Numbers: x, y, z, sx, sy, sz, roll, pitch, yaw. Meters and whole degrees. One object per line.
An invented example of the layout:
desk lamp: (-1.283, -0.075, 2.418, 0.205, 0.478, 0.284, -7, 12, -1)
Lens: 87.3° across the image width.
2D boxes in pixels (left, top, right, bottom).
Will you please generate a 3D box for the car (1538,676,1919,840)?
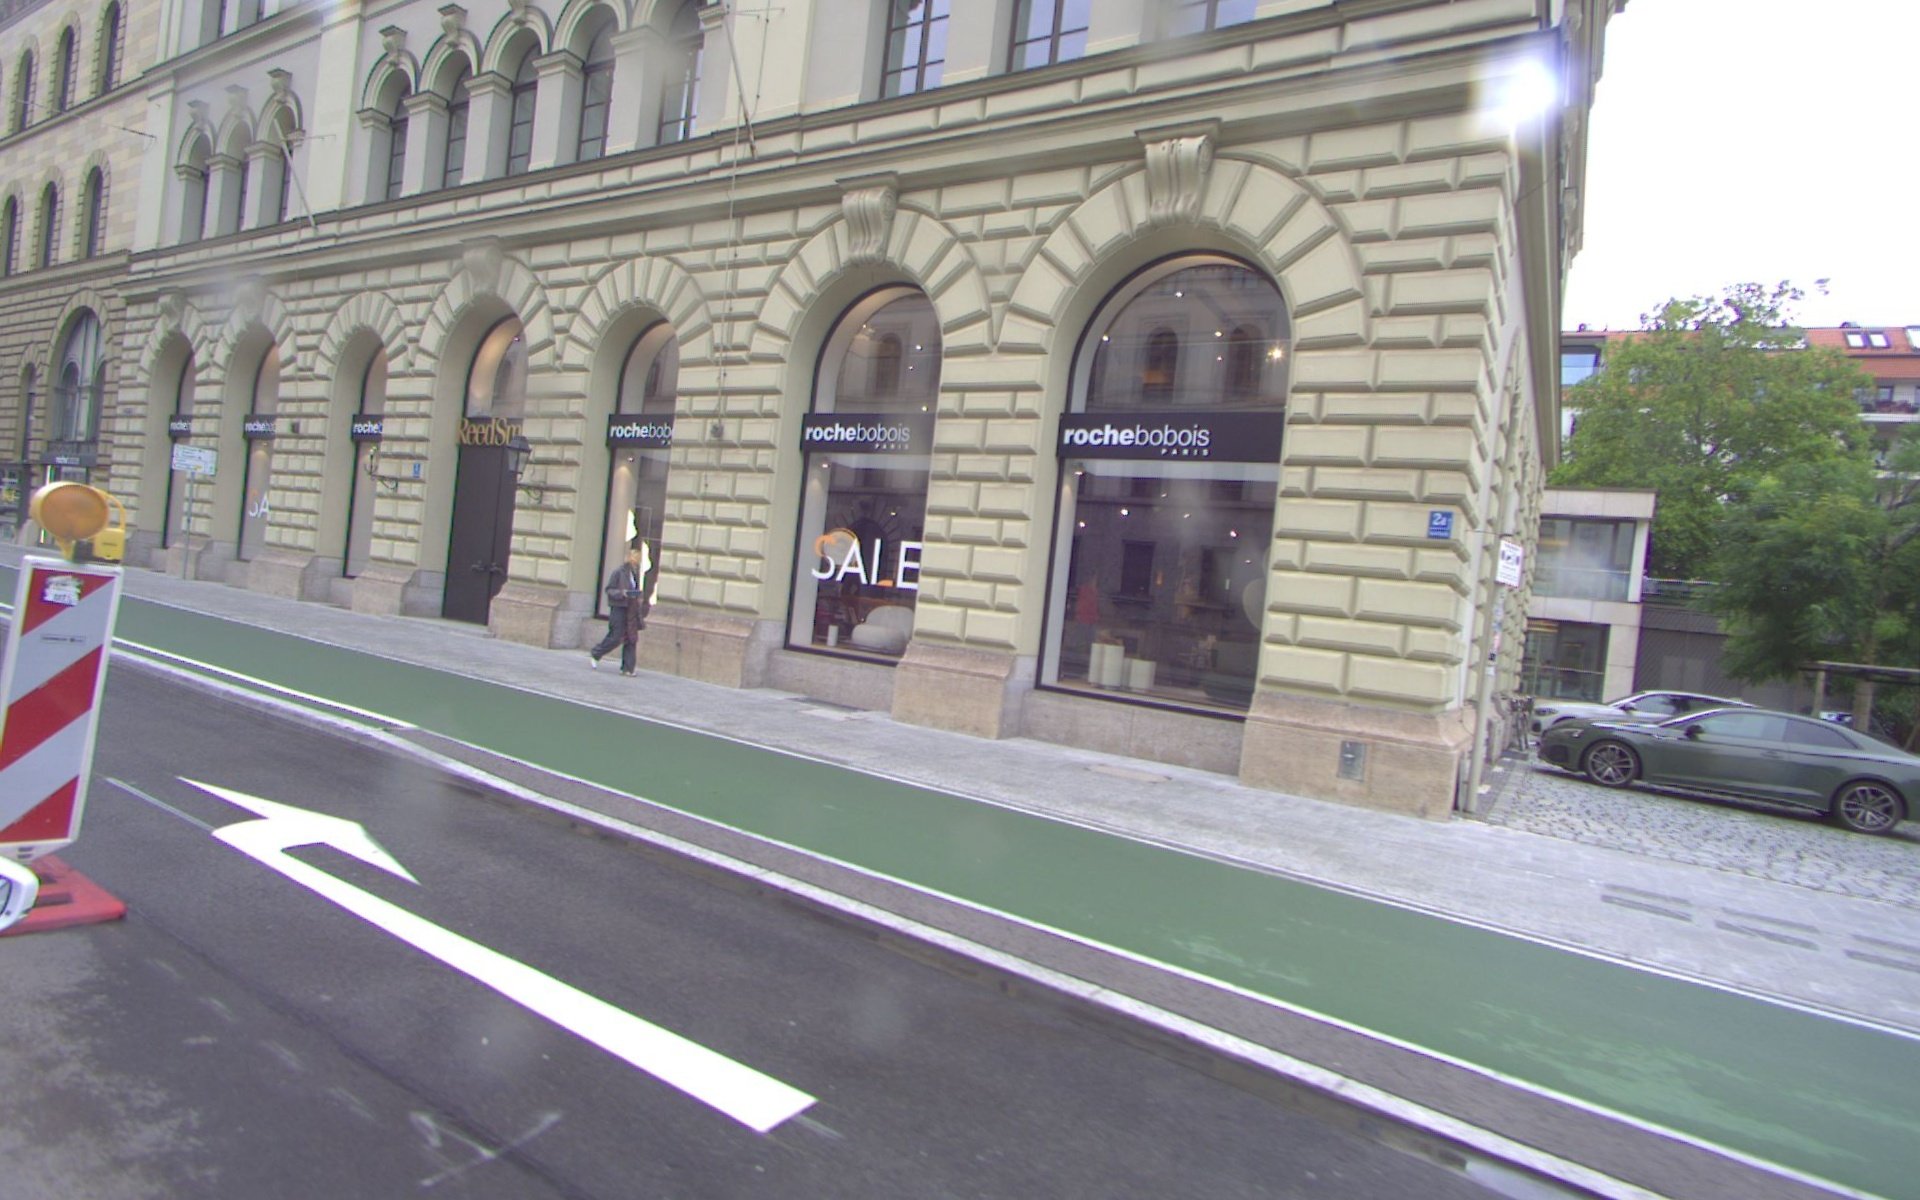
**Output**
car: (10.722, 2.093, 13.936, 4.553, 1.444, 1.860, 7, 0, 31)

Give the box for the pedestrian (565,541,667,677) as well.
pedestrian: (-4.717, 0.121, 13.800, 1.067, 1.726, 0.632, 7, 1, 31)

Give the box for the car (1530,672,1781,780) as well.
car: (13.547, 2.398, 19.876, 3.812, 1.444, 1.693, 7, 0, 31)

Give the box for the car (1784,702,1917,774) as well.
car: (23.474, 3.577, 26.690, 1.833, 1.443, 4.317, 7, -1, 33)
